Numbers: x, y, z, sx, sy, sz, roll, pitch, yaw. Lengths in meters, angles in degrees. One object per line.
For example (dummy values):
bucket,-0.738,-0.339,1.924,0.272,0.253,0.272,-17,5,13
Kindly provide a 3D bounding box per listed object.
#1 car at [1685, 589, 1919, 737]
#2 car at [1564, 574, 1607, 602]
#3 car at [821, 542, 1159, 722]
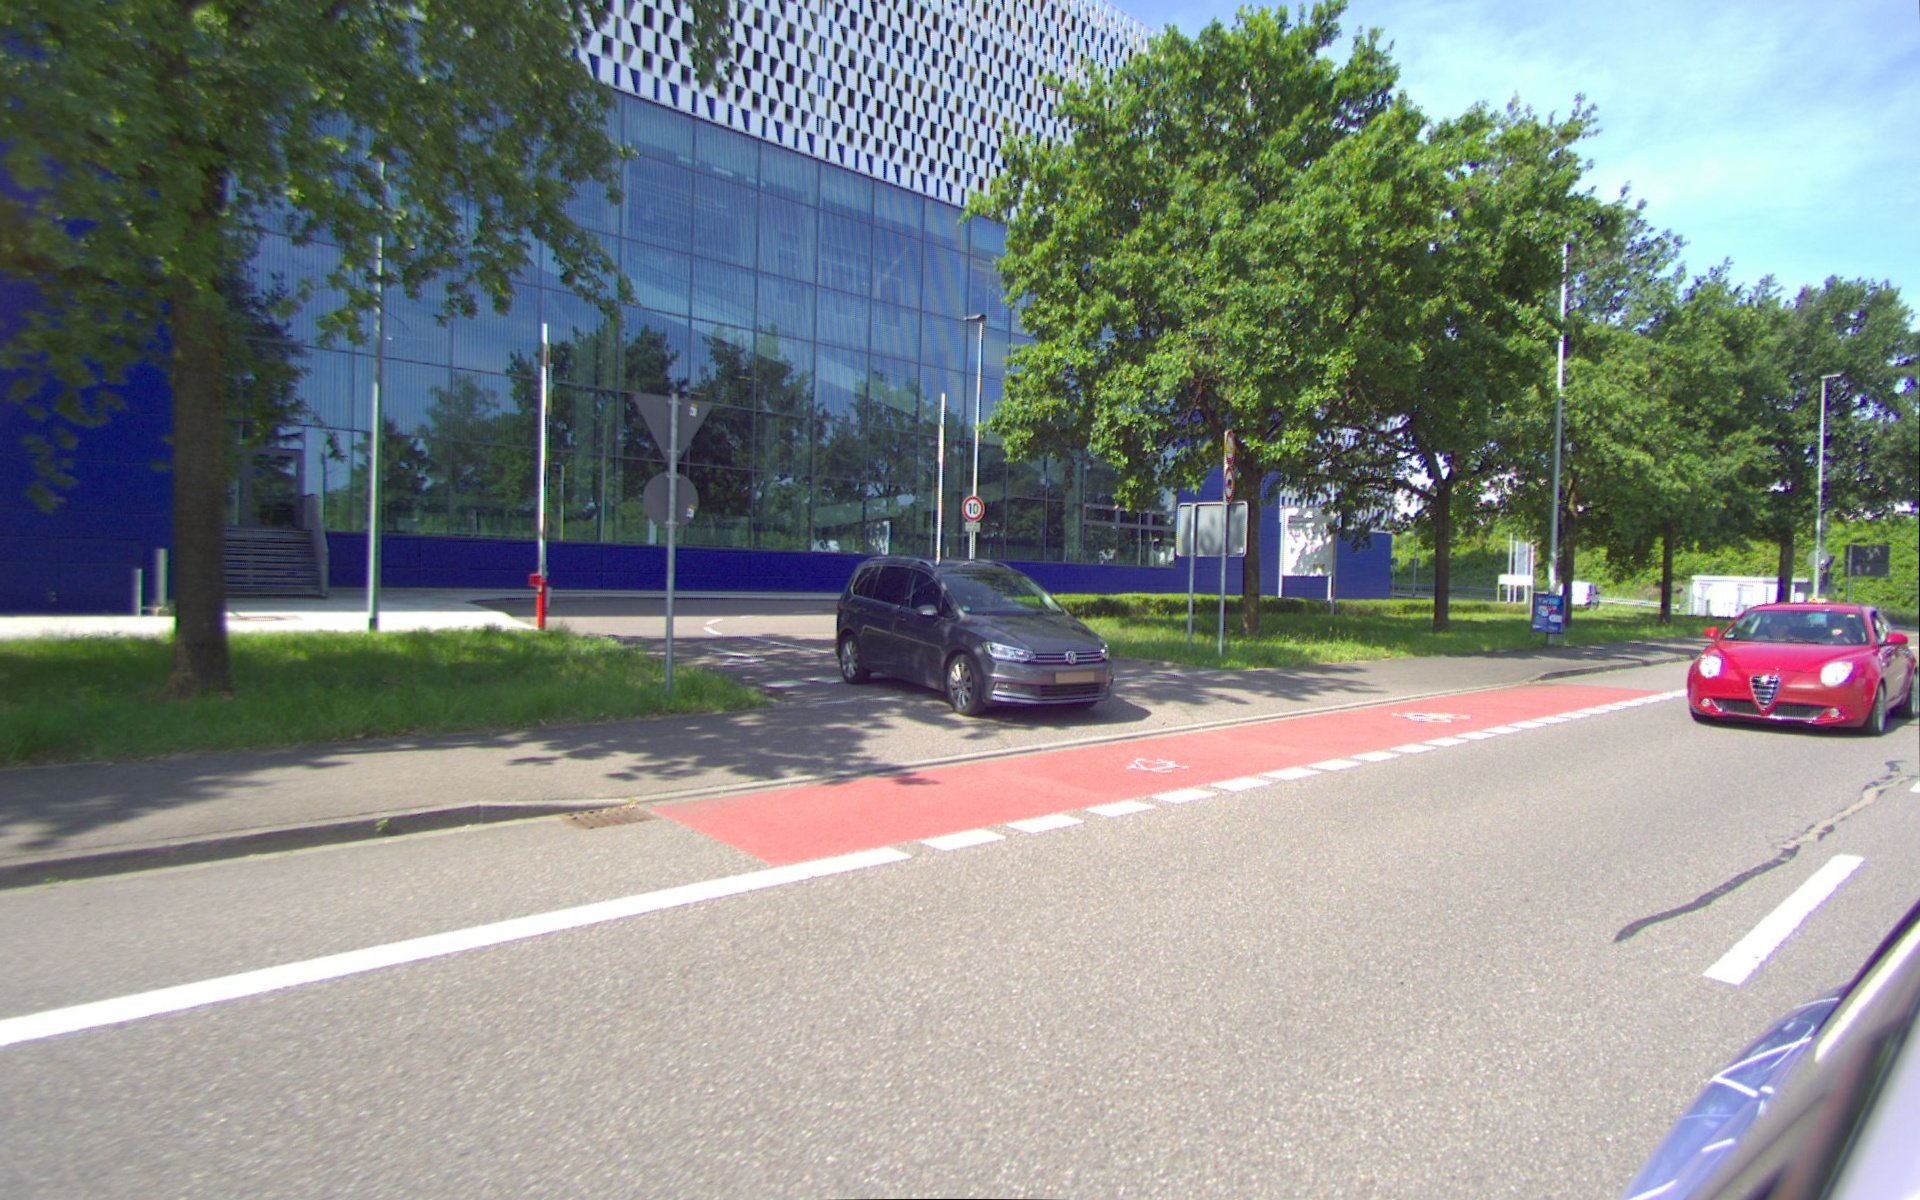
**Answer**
car,10.393,0.614,12.195,3.909,1.472,1.797,-1,1,-40
car,39.311,-0.731,63.523,1.847,1.660,4.244,1,0,38
car,0.127,0.203,12.158,1.808,1.714,4.463,0,3,-33
